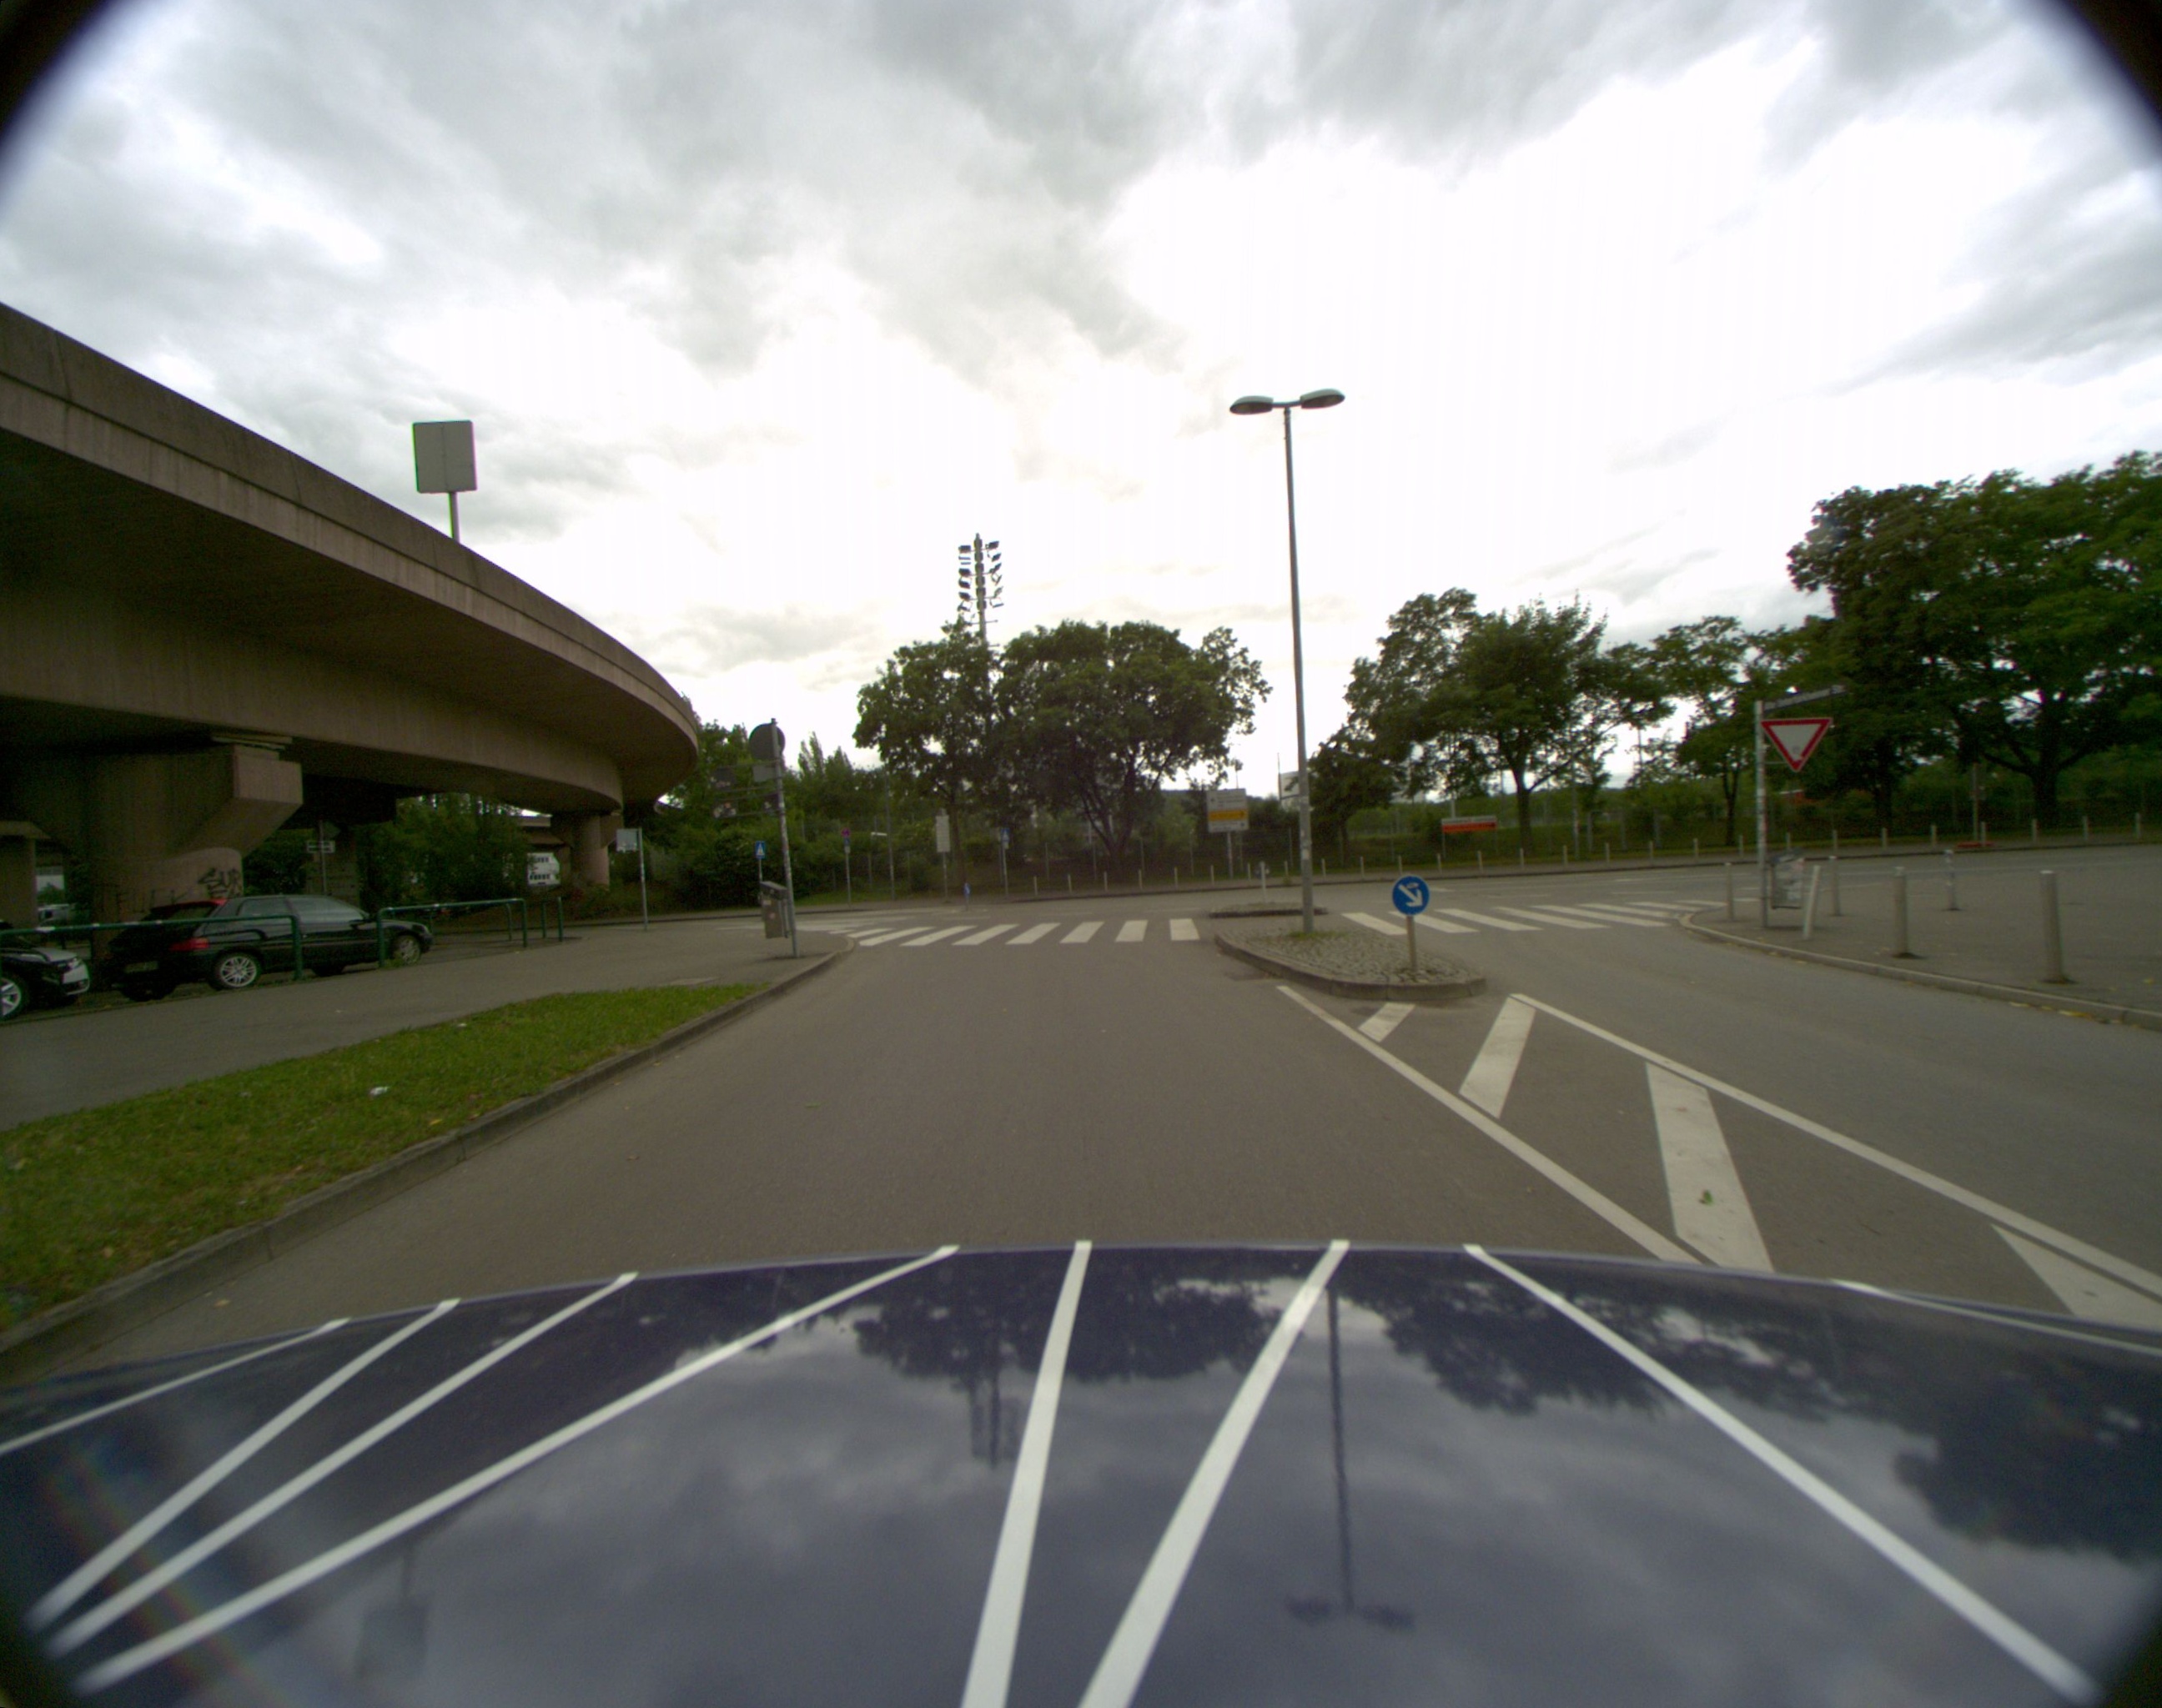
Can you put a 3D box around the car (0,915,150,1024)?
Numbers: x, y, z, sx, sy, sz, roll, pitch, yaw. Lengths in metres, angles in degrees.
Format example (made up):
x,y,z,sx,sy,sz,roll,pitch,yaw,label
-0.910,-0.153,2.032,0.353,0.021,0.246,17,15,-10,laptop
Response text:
x,y,z,sx,sy,sz,roll,pitch,yaw,label
-18.341,1.945,12.550,4.007,1.542,1.639,-4,0,3,car

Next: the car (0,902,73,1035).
x,y,z,sx,sy,sz,roll,pitch,yaw,label
-12.713,1.342,6.758,1.508,1.412,4.250,-5,0,6,car

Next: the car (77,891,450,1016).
x,y,z,sx,sy,sz,roll,pitch,yaw,label
-12.396,1.414,11.918,1.508,1.322,3.701,-7,-1,6,car
